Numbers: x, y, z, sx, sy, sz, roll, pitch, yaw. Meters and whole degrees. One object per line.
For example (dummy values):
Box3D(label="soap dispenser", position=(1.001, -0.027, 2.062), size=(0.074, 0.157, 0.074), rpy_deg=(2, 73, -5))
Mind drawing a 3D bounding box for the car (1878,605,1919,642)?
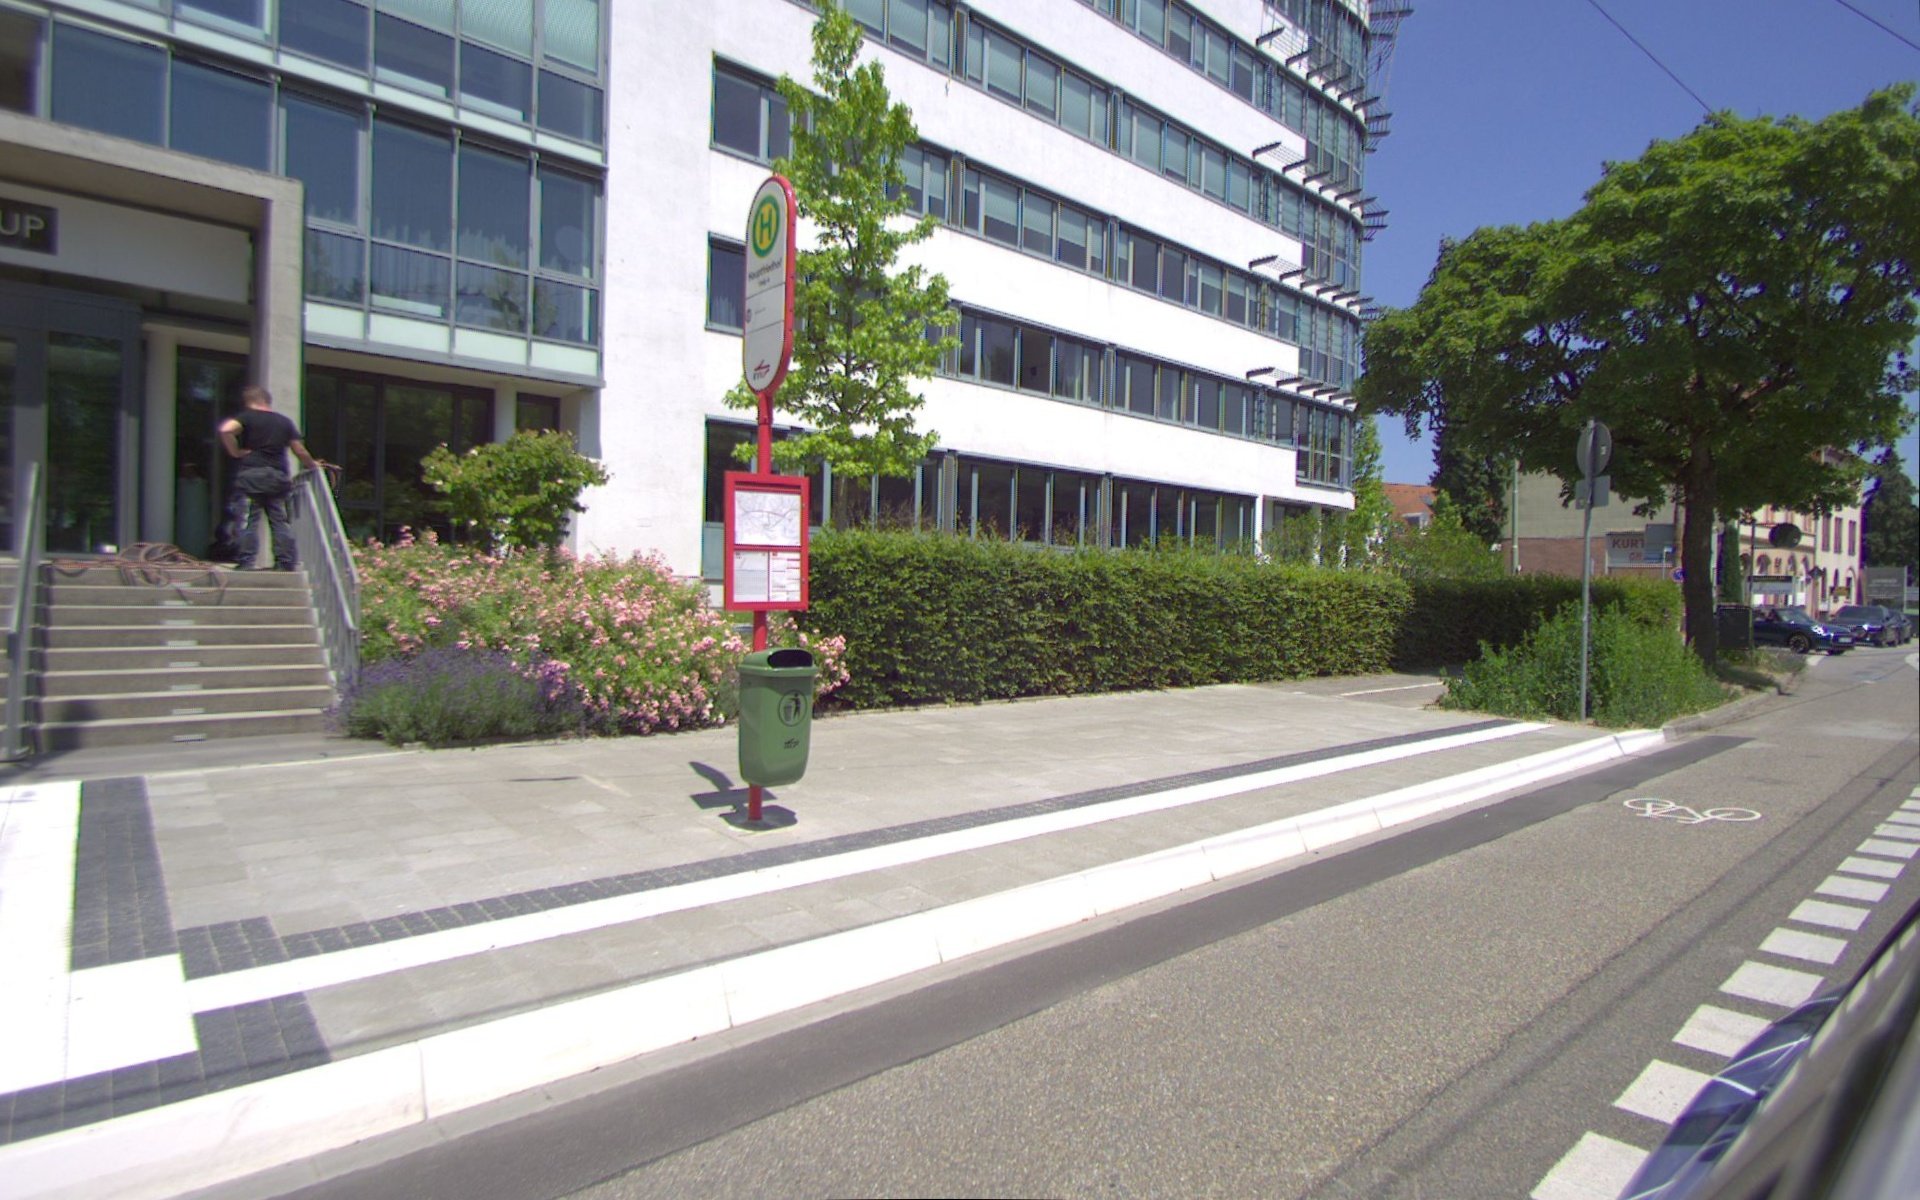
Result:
Box3D(label="car", position=(43.955, 1.060, 46.706), size=(4.389, 1.567, 1.776), rpy_deg=(0, 3, -41))

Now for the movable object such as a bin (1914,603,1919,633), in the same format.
Box3D(label="movable object such as a bin", position=(49.770, 0.965, 51.721), size=(1.040, 1.472, 1.325), rpy_deg=(1, 3, -44))

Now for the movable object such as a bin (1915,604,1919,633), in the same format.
Box3D(label="movable object such as a bin", position=(50.491, 0.990, 52.493), size=(1.040, 1.472, 1.249), rpy_deg=(1, 3, -44))

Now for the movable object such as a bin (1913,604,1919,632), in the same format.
Box3D(label="movable object such as a bin", position=(51.237, 0.994, 53.280), size=(1.120, 1.472, 1.394), rpy_deg=(1, 3, -44))

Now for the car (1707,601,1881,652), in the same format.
Box3D(label="car", position=(26.045, 0.791, 31.778), size=(1.667, 1.388, 3.936), rpy_deg=(1, 1, -16))

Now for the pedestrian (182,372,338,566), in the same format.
Box3D(label="pedestrian", position=(-6.842, -1.228, 9.905), size=(0.873, 1.736, 1.073), rpy_deg=(4, 3, 42))

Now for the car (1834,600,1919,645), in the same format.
Box3D(label="car", position=(38.759, 0.927, 42.731), size=(4.991, 1.713, 1.929), rpy_deg=(1, 3, -40))

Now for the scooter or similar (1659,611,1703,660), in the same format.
Box3D(label="scooter or similar", position=(18.485, 0.920, 25.960), size=(1.127, 1.238, 0.327), rpy_deg=(1, -1, -19))
